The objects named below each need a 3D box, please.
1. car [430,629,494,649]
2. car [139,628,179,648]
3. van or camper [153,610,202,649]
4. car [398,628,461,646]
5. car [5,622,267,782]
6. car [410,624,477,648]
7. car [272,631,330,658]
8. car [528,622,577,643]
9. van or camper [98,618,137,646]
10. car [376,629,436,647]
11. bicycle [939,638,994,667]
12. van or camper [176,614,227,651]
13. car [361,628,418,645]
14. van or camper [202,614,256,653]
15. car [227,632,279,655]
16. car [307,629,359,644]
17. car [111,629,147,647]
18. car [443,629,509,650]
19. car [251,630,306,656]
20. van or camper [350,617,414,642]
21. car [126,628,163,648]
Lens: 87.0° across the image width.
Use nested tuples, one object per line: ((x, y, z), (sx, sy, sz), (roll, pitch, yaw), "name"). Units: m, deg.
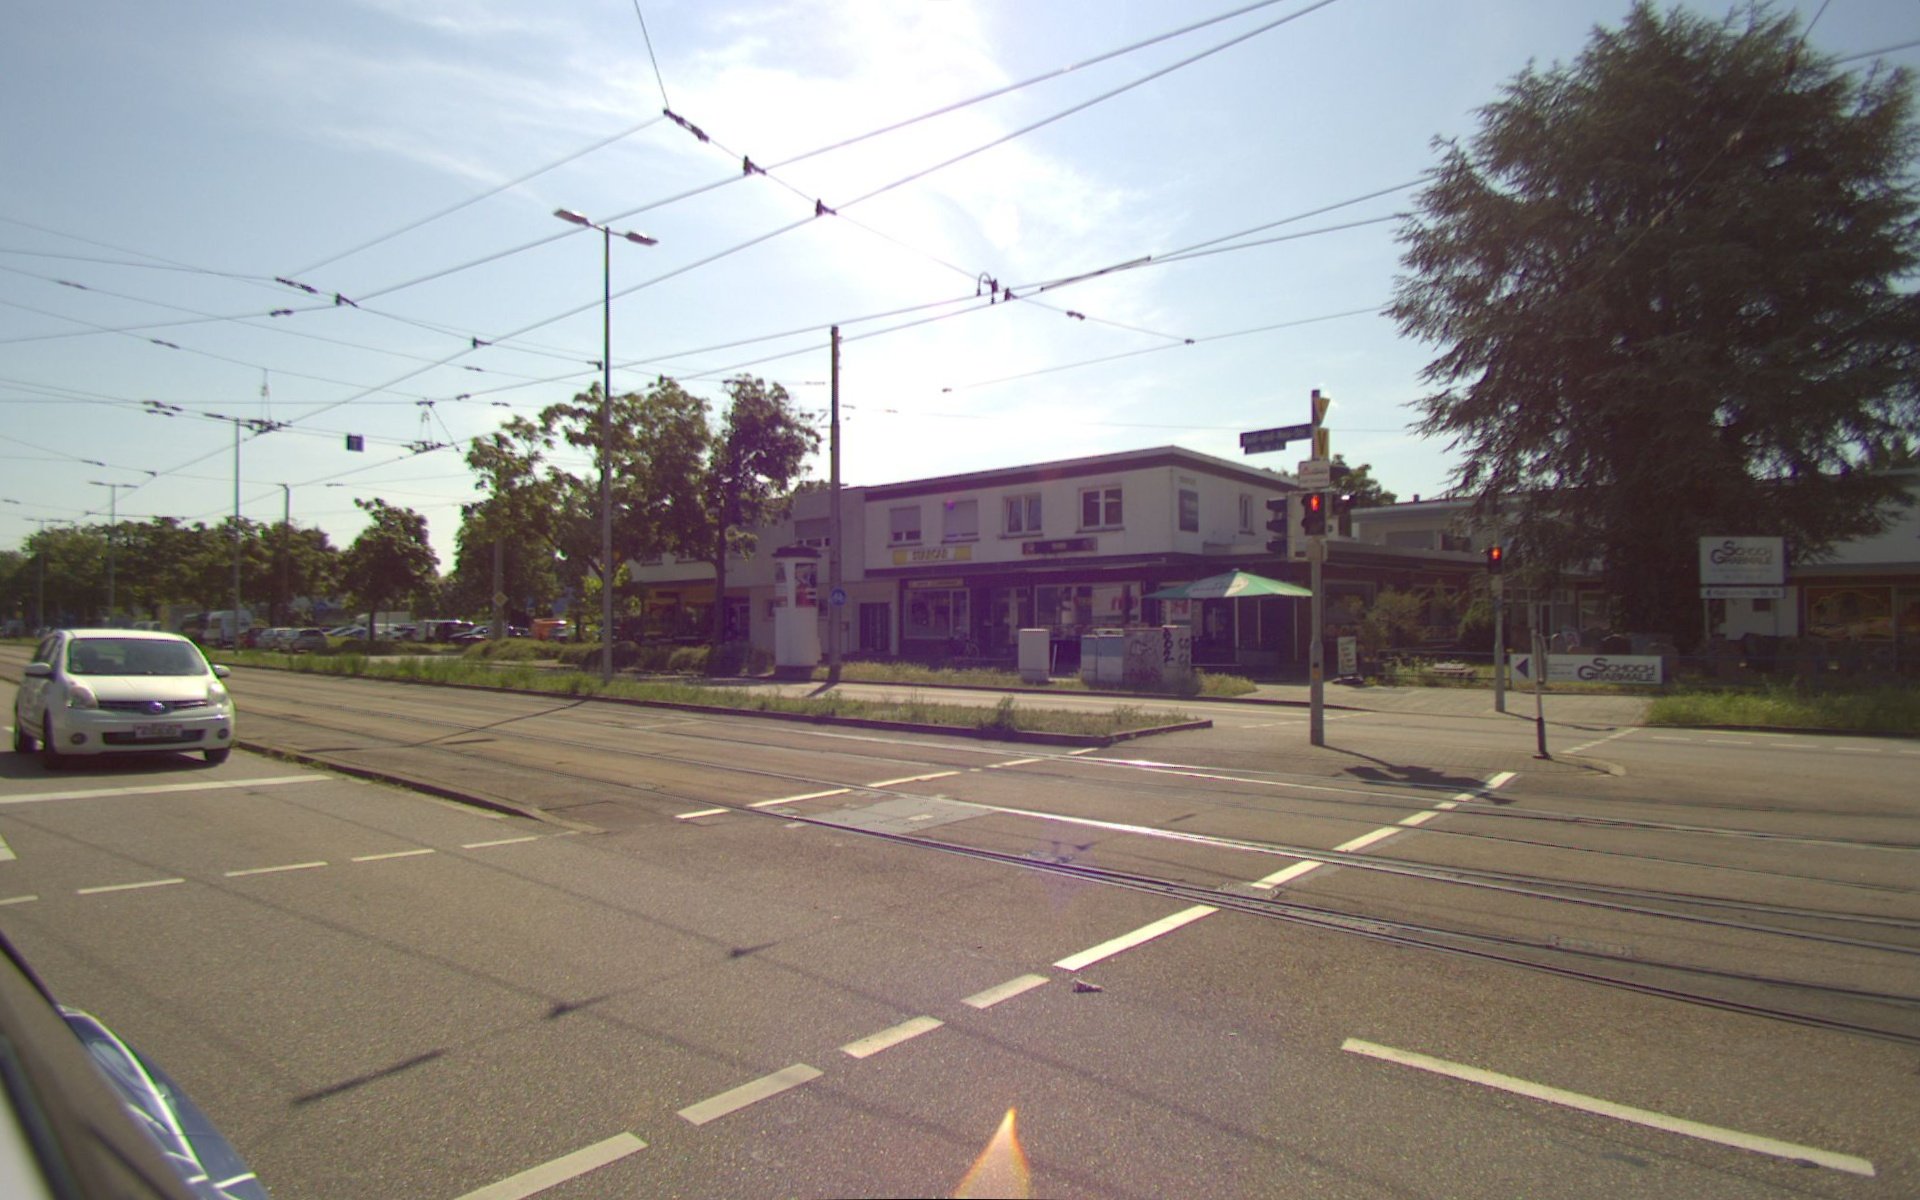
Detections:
((-34.270, 2.673, 69.671), (1.711, 1.372, 3.578), (-2, -2, 39), "car")
((-68.598, 3.246, 86.651), (4.230, 1.748, 1.868), (-2, -3, 41), "car")
((-62.414, 2.387, 80.677), (5.279, 3.008, 2.100), (-2, -3, 41), "van or camper")
((-37.968, 2.632, 72.496), (1.711, 1.294, 3.578), (-2, -2, 39), "car")
((-9.852, 1.083, 11.995), (4.065, 1.573, 1.747), (-2, -4, 42), "car")
((-36.282, 2.517, 71.122), (1.949, 1.581, 3.702), (-2, -2, 40), "car")
((-39.478, 2.640, 60.599), (4.285, 1.506, 1.867), (-2, 0, 43), "car")
((-35.173, 2.795, 87.368), (1.711, 1.791, 3.578), (-2, -2, 39), "car")
((-82.905, 3.133, 99.603), (5.450, 2.639, 2.086), (-1, -3, 42), "van or camper")
((-41.954, 2.881, 76.686), (1.811, 1.291, 3.578), (-2, -2, 39), "car")
((0.224, 1.835, 35.807), (1.910, 0.990, 0.750), (-2, -3, 42), "bicycle")
((-56.531, 2.440, 75.412), (4.837, 2.652, 2.013), (-2, -3, 41), "van or camper")
((-45.432, 2.914, 80.598), (1.711, 1.291, 3.578), (-2, -2, 39), "car")
((-51.189, 2.334, 70.808), (4.837, 2.652, 2.013), (-2, -3, 41), "van or camper")
((-47.255, 2.868, 67.618), (4.230, 1.506, 1.868), (-2, -3, 41), "car")
((-56.008, 3.229, 90.400), (1.711, 1.291, 3.578), (-2, -2, 39), "car")
((-78.164, 3.562, 95.174), (4.230, 1.572, 1.868), (-2, -3, 41), "car")
((-32.337, 2.621, 67.712), (1.711, 1.372, 3.578), (-2, -2, 39), "car")
((-43.098, 2.714, 63.967), (4.283, 1.572, 1.868), (-2, -3, 41), "car")
((-66.427, 3.375, 116.440), (2.299, 2.751, 6.000), (-2, -3, 43), "van or camper")
((-73.641, 3.393, 91.418), (4.230, 1.781, 1.868), (-2, -3, 41), "car")
